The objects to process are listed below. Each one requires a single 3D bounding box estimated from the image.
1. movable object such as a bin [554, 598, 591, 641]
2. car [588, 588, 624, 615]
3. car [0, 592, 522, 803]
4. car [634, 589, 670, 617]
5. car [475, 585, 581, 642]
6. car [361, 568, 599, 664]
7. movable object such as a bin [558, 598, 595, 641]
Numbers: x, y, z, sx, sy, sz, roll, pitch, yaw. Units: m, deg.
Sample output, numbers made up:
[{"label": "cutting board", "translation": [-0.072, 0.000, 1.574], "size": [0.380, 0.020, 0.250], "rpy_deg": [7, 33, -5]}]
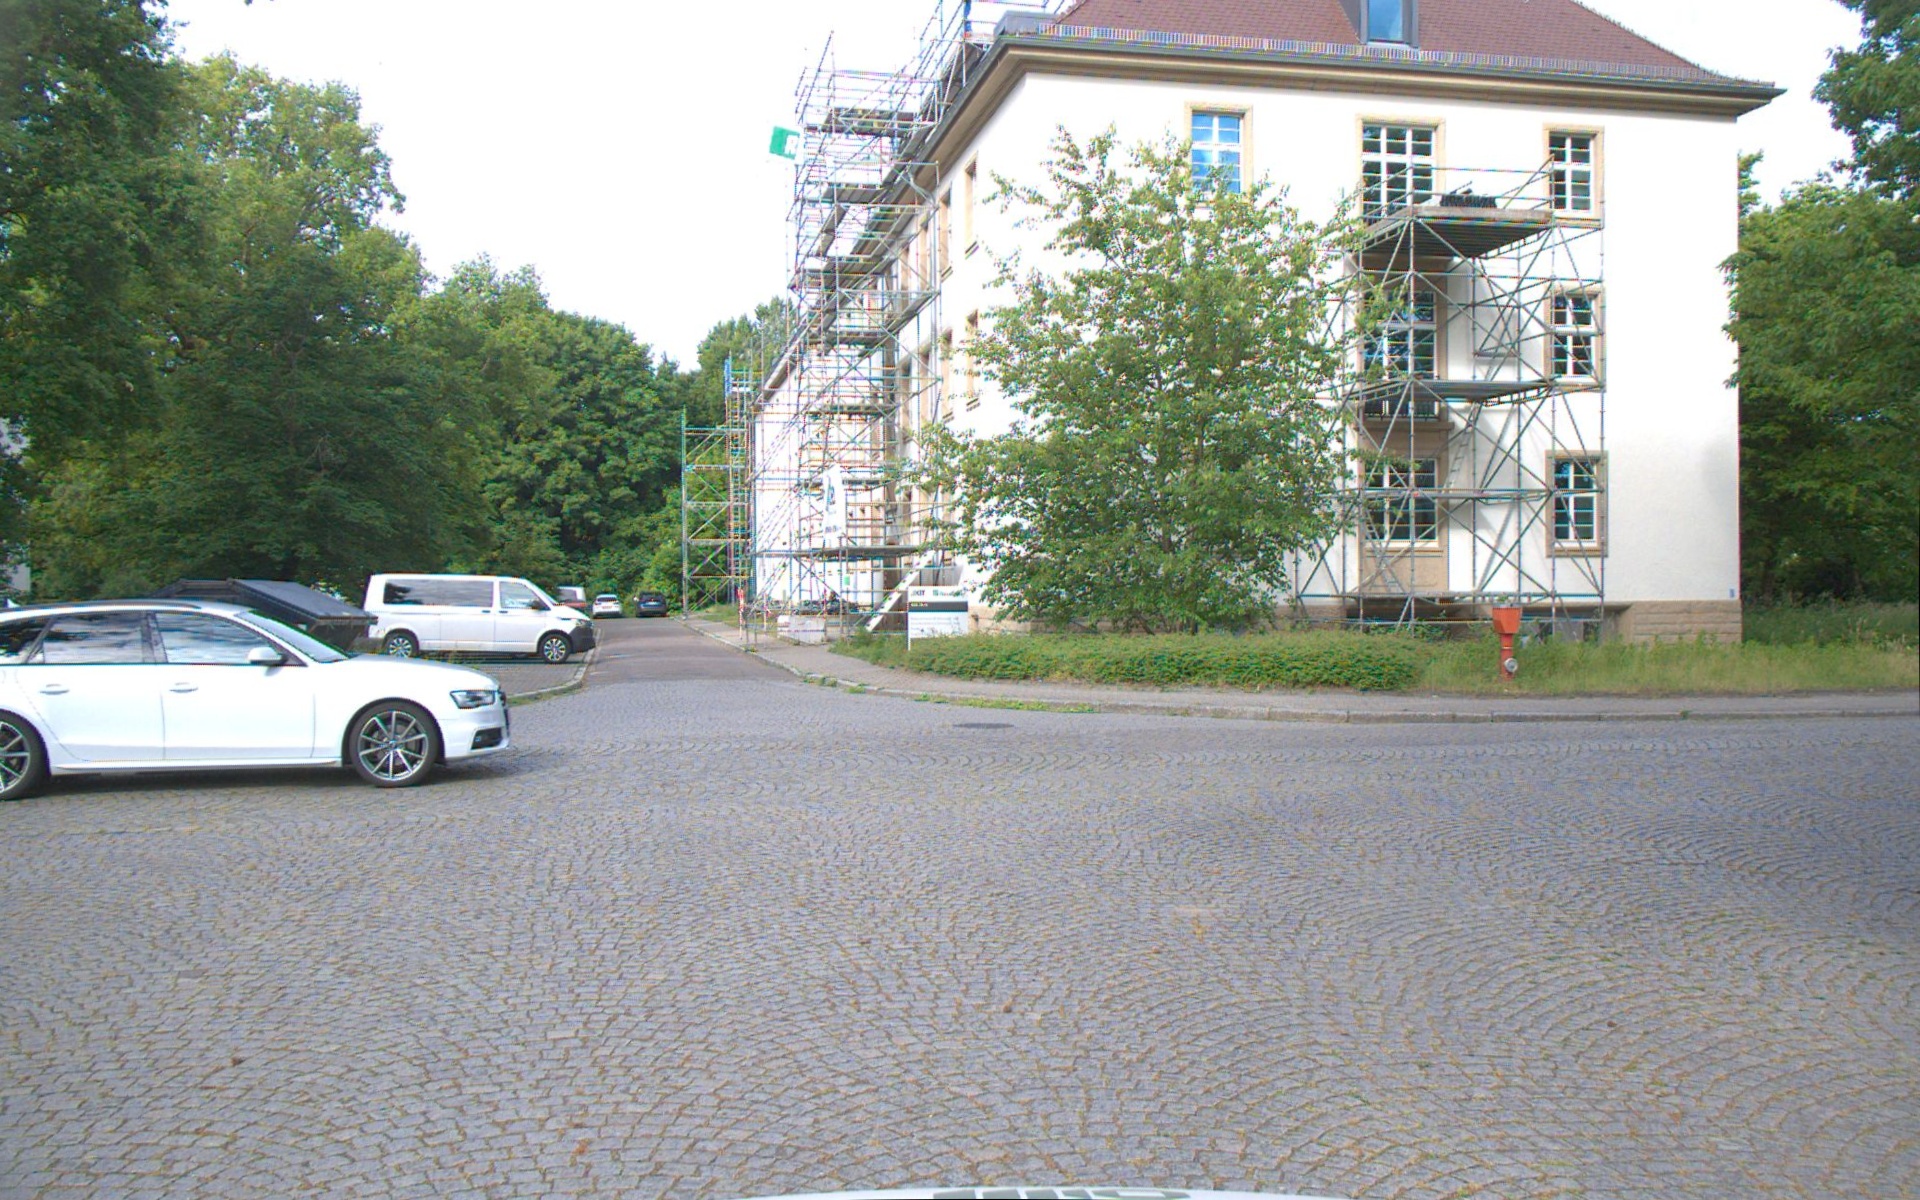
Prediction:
[{"label": "movable object such as a bin", "translation": [-13.183, 0.669, 56.304], "size": [1.162, 1.432, 0.972], "rpy_deg": [2, -1, -11]}, {"label": "car", "translation": [-22.062, 0.091, 102.956], "size": [1.968, 1.575, 3.943], "rpy_deg": [2, -1, -15]}, {"label": "car", "translation": [-5.890, 0.698, 13.064], "size": [4.609, 1.462, 1.849], "rpy_deg": [-1, 1, -13]}, {"label": "car", "translation": [-19.335, 0.203, 103.956], "size": [2.025, 1.621, 3.991], "rpy_deg": [2, -1, -9]}, {"label": "car", "translation": [-16.912, 0.542, 64.774], "size": [3.922, 2.049, 1.913], "rpy_deg": [2, -1, -16]}, {"label": "car", "translation": [-10.925, 0.380, 38.066], "size": [5.111, 2.096, 2.181], "rpy_deg": [1, -1, -13]}, {"label": "movable object such as a bin", "translation": [-13.353, 0.674, 57.562], "size": [1.162, 1.432, 0.972], "rpy_deg": [2, -1, -11]}]
